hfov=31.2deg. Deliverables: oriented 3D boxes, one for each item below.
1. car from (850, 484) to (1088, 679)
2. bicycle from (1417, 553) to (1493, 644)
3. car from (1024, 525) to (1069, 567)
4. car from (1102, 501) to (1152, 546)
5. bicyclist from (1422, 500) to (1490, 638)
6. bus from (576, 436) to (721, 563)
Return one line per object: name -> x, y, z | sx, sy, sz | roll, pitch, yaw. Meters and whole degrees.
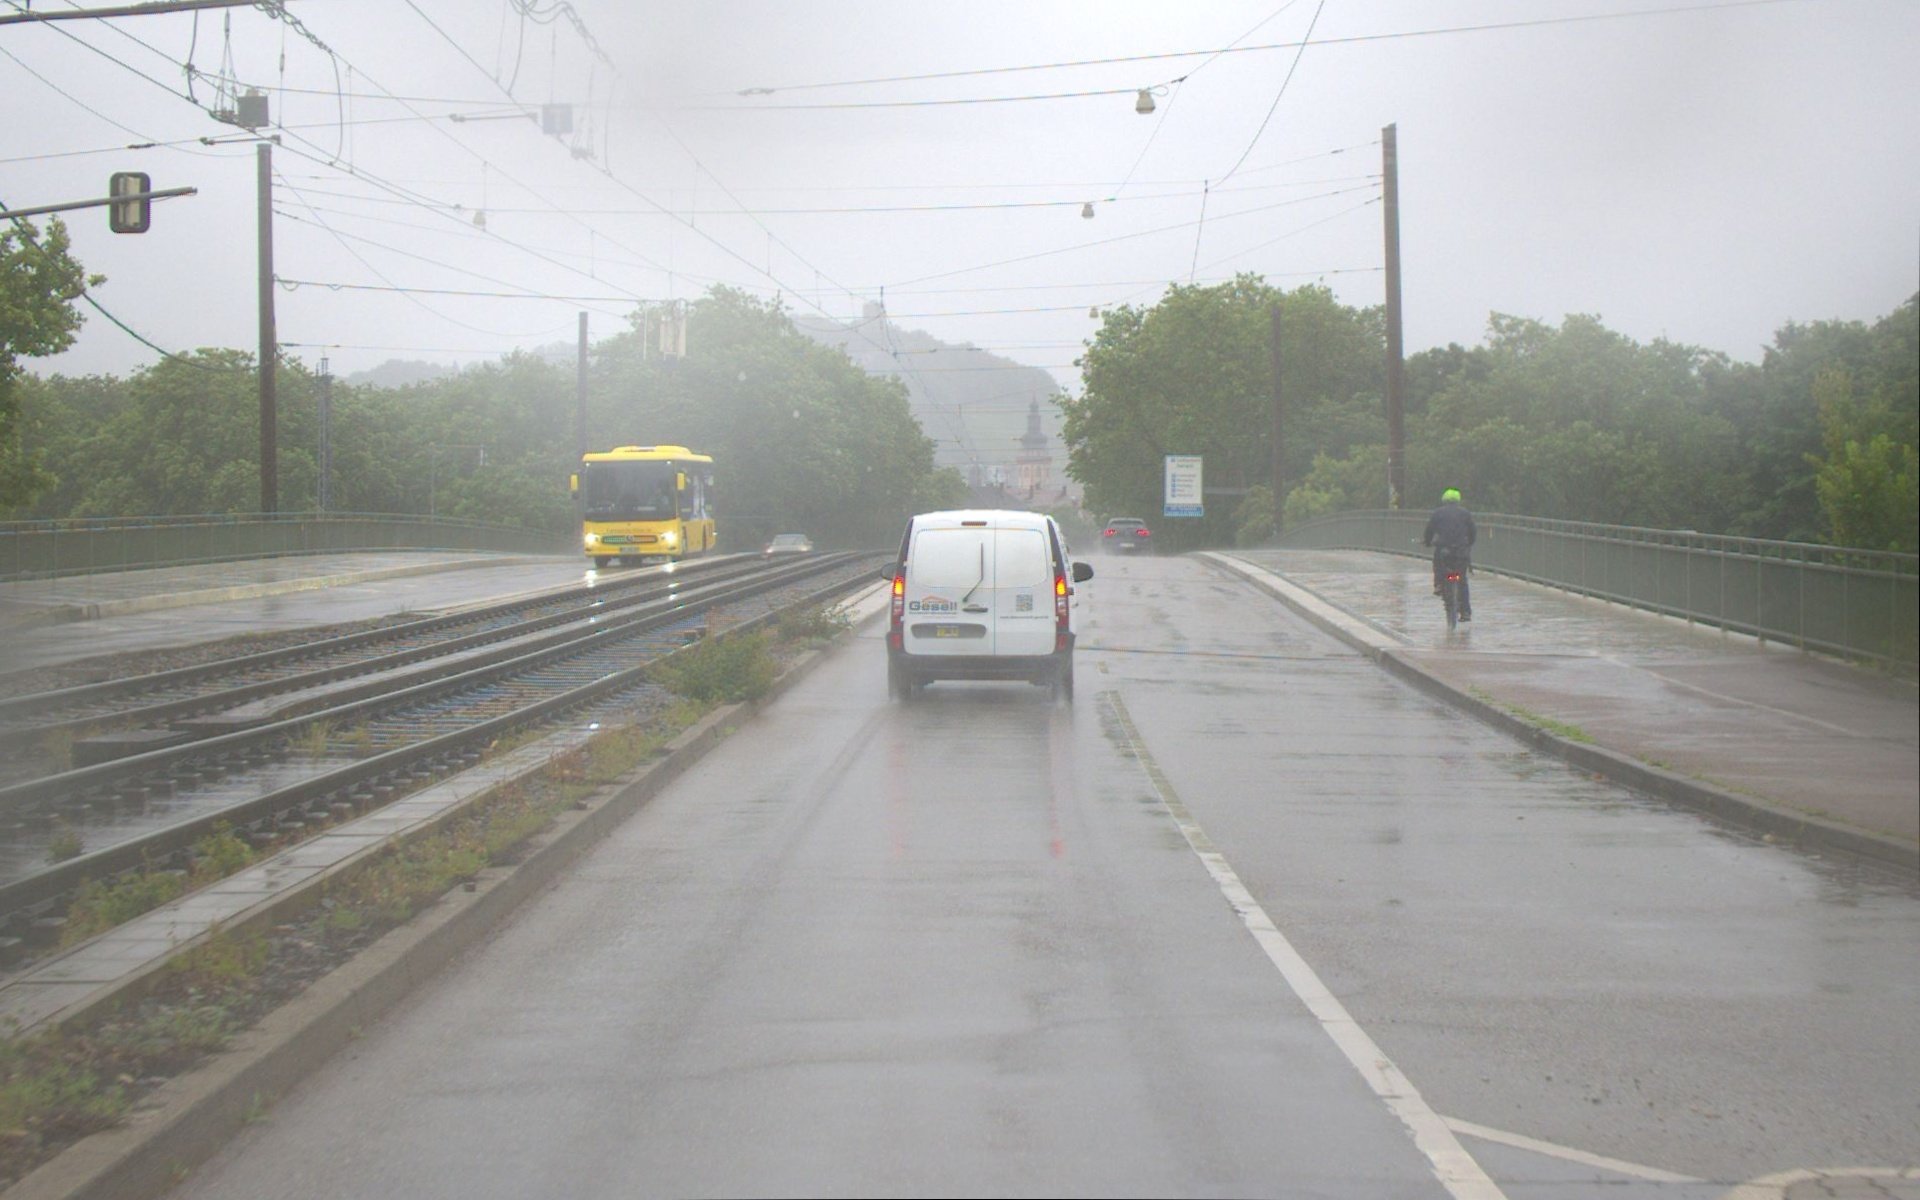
car -> 0.153, -0.181, 33.280 | 1.994, 1.720, 3.999 | 2, 0, 4
bicycle -> 6.422, -0.036, 44.709 | 0.723, 1.125, 2.168 | 2, 1, 2
car -> 3.196, -1.977, 127.101 | 1.451, 1.494, 2.982 | 2, 0, -2
car -> 5.832, -2.664, 120.263 | 1.451, 1.494, 2.982 | 2, 0, -2
bicyclist -> 6.445, -0.396, 44.720 | 0.725, 1.758, 0.949 | 2, 0, 2
bus -> -8.759, -2.953, 97.887 | 2.708, 3.329, 10.994 | -2, 3, 2
